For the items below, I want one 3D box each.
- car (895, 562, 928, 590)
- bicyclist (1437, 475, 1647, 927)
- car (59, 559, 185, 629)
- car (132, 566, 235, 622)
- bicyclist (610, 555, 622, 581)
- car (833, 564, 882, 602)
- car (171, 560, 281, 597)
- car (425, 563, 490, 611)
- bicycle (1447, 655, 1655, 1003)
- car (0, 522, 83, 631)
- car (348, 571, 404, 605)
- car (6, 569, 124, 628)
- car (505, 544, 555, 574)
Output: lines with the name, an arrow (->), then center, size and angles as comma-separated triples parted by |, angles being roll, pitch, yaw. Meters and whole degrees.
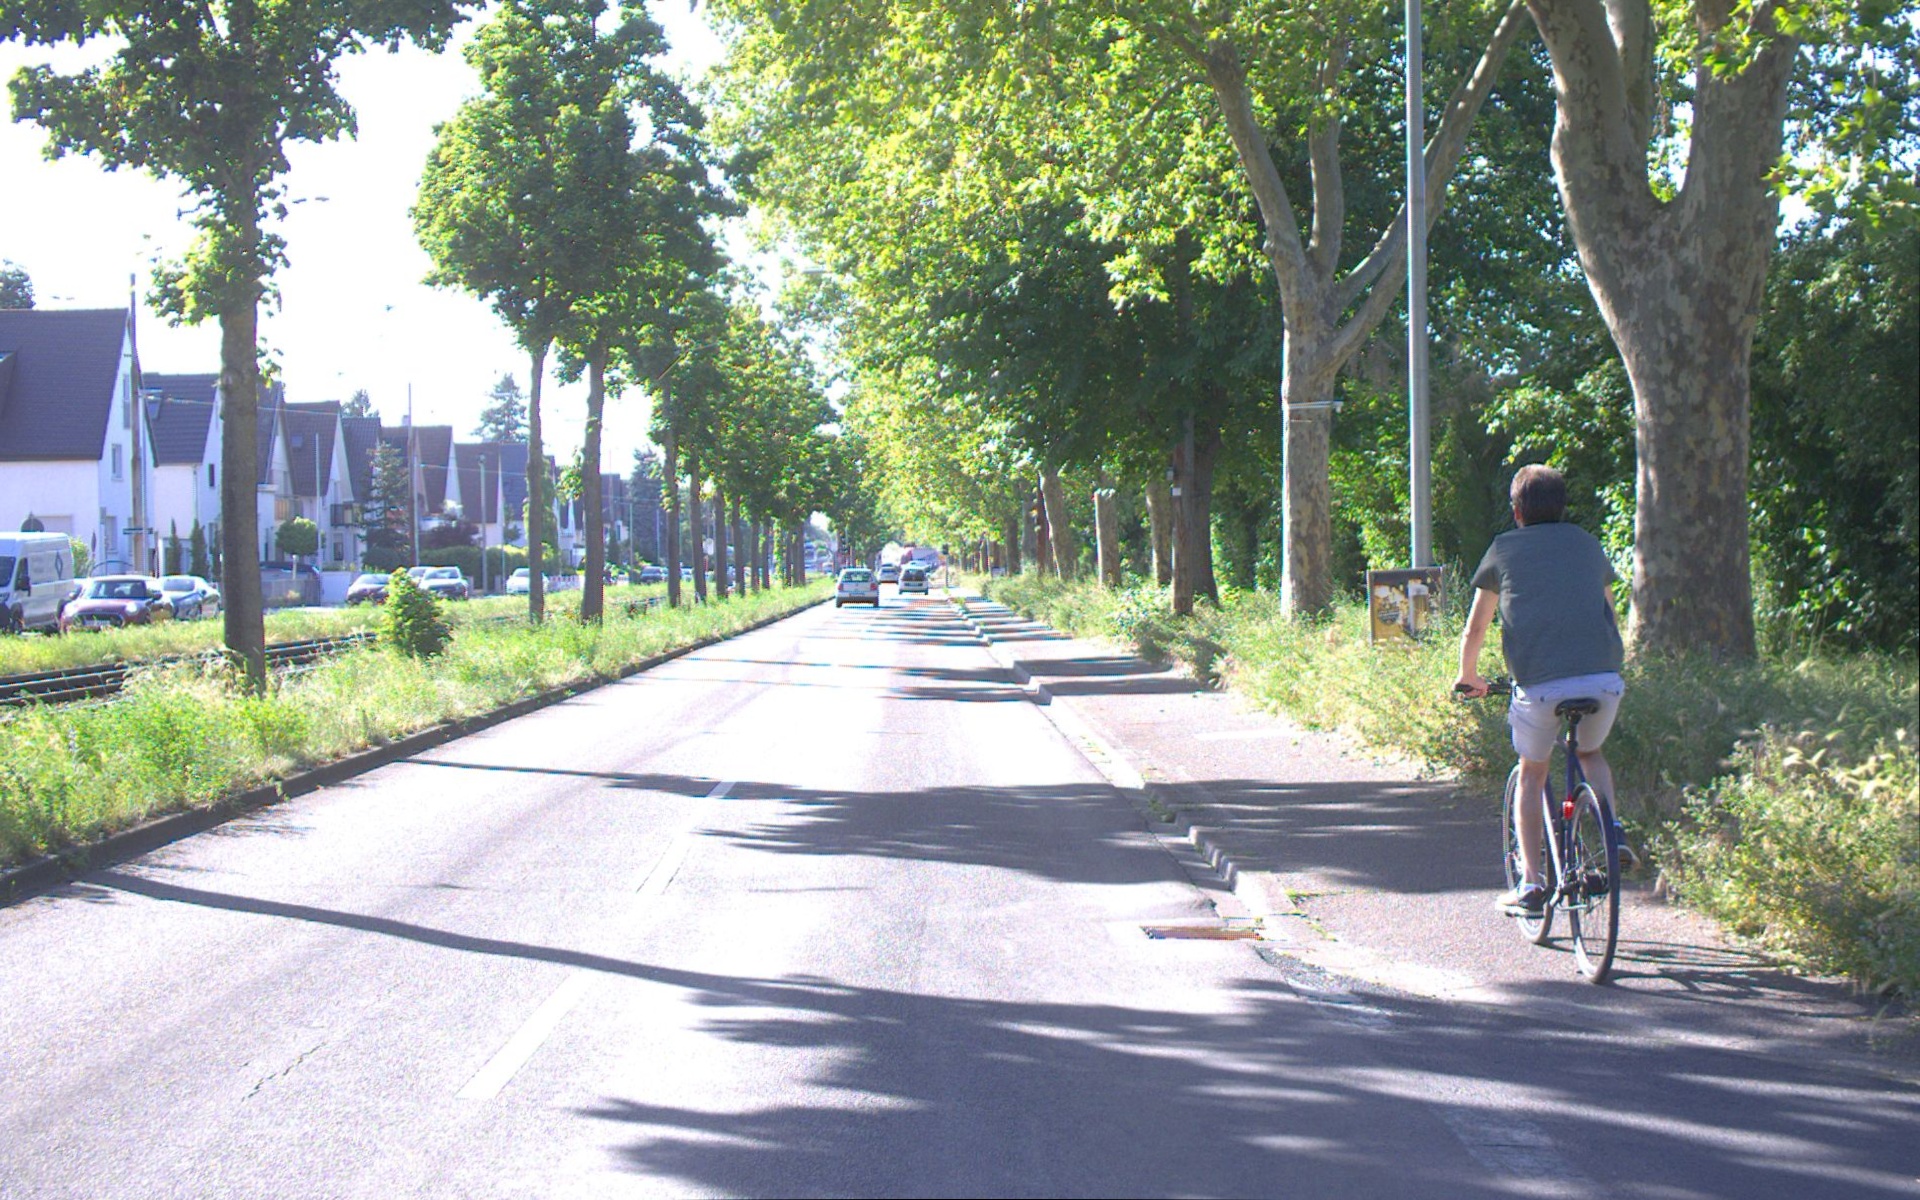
car -> -2.694, -1.320, 192.071 | 1.761, 1.508, 3.277 | 1, 0, 0
bicyclist -> 2.152, 0.356, 12.795 | 0.613, 1.623, 0.909 | 0, 1, -1
car -> -17.414, -0.146, 71.608 | 1.676, 1.405, 4.000 | 0, 1, -1
car -> -22.845, -0.192, 101.329 | 1.993, 1.576, 4.498 | 1, 1, 0
bicyclist -> -21.867, -2.026, 218.524 | 0.688, 1.646, 0.881 | 1, 0, -1
car -> -3.843, -0.637, 129.242 | 1.738, 1.396, 3.277 | 1, 0, -1
car -> -30.269, -0.891, 141.873 | 4.212, 1.458, 1.938 | 1, 0, -4
car -> -20.178, -0.521, 138.225 | 1.915, 1.876, 4.523 | 1, 0, 0
bicycle -> 2.180, 0.811, 12.840 | 0.440, 1.149, 1.823 | 0, 1, -1
car -> -22.483, -0.552, 81.000 | 1.993, 2.451, 6.675 | 1, 0, -1
car -> -23.479, -0.462, 138.385 | 1.494, 1.321, 4.000 | 1, 0, 1
car -> -22.566, -0.038, 86.822 | 1.824, 1.407, 4.658 | 1, 0, -1
car -> -24.327, -2.337, 194.805 | 1.994, 1.593, 4.731 | 1, 0, 3
